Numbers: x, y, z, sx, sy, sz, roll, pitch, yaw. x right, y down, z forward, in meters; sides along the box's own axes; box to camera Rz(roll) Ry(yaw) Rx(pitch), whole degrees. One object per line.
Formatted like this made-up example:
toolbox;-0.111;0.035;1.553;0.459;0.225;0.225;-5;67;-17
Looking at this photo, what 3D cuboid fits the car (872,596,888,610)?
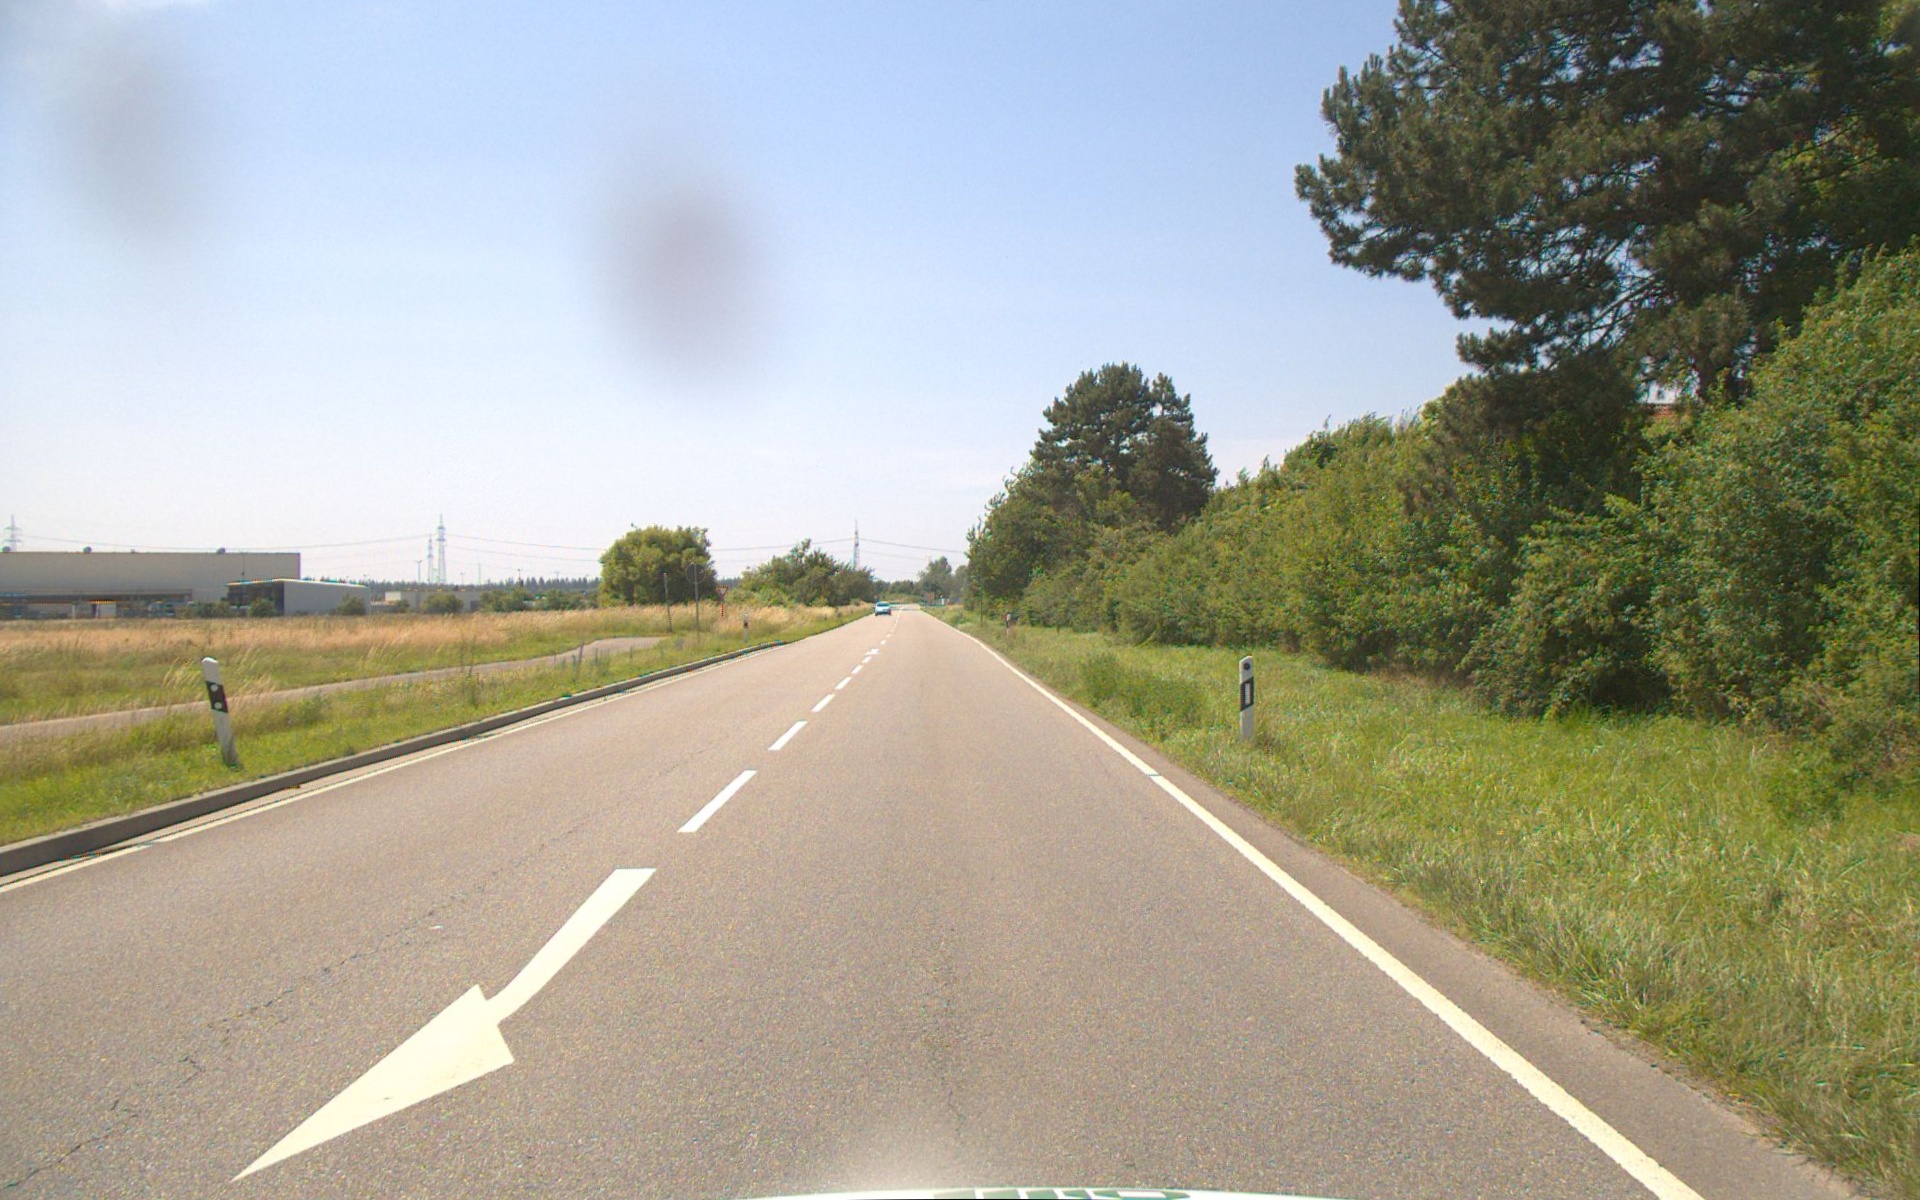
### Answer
car;-8.725;0.286;180.690;1.645;1.445;4.420;-3;0;-2
